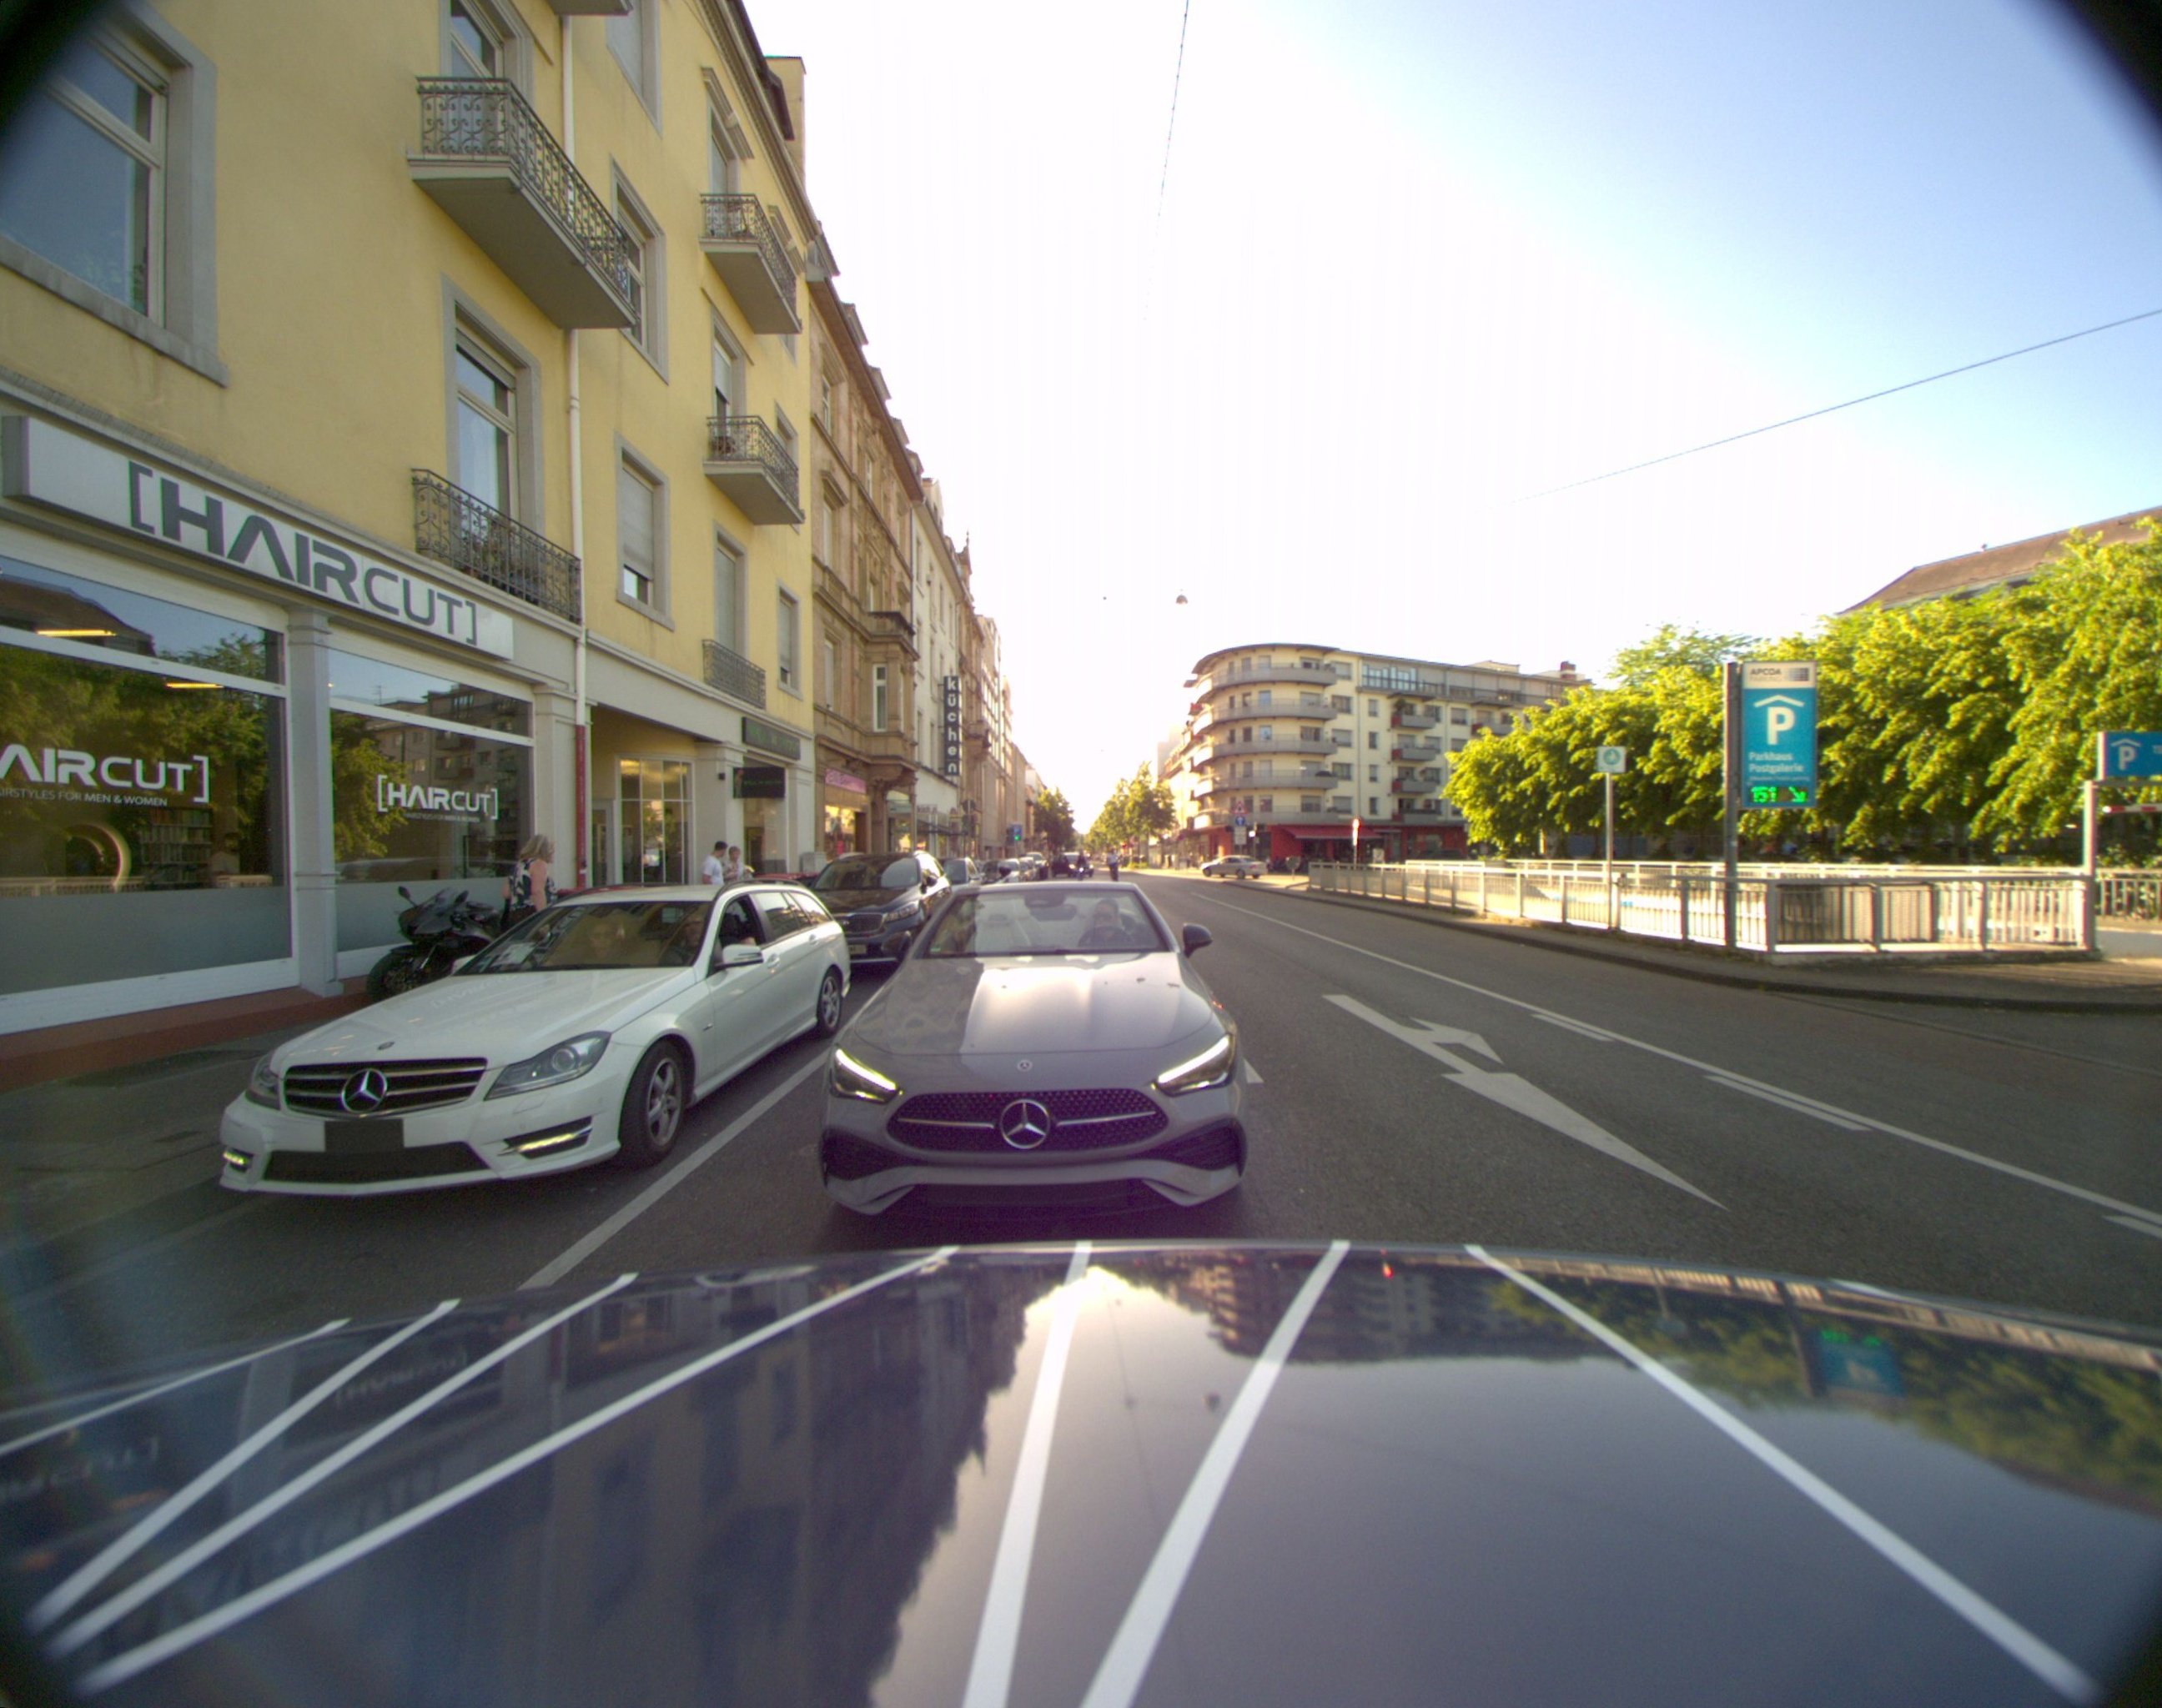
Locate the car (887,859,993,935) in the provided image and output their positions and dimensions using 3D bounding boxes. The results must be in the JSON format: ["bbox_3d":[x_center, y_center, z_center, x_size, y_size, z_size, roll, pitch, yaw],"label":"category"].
[{"bbox_3d":[-3.295,0.942,18.546,1.802,1.518,4.085,-2,1,-1],"label":"car"}]

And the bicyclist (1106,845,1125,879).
[{"bbox_3d":[1.743,0.395,38.014,0.885,1.625,0.769,-2,0,4],"label":"bicyclist"}]

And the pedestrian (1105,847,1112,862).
[{"bbox_3d":[3.693,0.033,103.391,0.860,2.002,0.889,-2,1,1],"label":"pedestrian"}]

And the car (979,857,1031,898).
[{"bbox_3d":[-3.005,0.905,30.748,1.660,1.423,4.085,-2,1,-1],"label":"car"}]

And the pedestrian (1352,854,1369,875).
[{"bbox_3d":[21.771,0.797,59.279,0.863,1.586,0.887,-3,1,-38],"label":"pedestrian"}]

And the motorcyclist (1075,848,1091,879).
[{"bbox_3d":[0.100,0.453,36.844,0.722,1.438,0.705,-2,1,2],"label":"motorcyclist"}]

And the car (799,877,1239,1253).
[{"bbox_3d":[-0.273,0.953,5.205,1.802,1.351,3.999,-2,1,-1],"label":"car"}]

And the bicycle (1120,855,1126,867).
[{"bbox_3d":[4.369,0.729,78.533,0.527,1.163,1.593,-2,1,2],"label":"bicycle"}]

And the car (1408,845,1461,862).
[{"bbox_3d":[29.044,-0.056,62.426,4.004,1.294,1.753,-2,1,-23],"label":"car"}]

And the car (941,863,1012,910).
[{"bbox_3d":[-3.379,1.019,25.344,1.802,1.259,4.085,-2,1,-1],"label":"car"}]

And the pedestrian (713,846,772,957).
[{"bbox_3d":[-5.766,0.796,12.974,0.664,1.840,0.575,-2,1,2],"label":"pedestrian"}]

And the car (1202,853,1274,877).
[{"bbox_3d":[10.032,0.683,48.849,1.828,1.346,4.252,0,2,-42],"label":"car"}]

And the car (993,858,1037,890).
[{"bbox_3d":[-3.136,0.918,36.878,1.802,1.332,3.838,-2,1,-1],"label":"car"}]

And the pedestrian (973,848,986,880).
[{"bbox_3d":[-5.815,0.573,43.723,0.574,1.840,0.665,-2,1,1],"label":"pedestrian"}]

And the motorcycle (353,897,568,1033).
[{"bbox_3d":[-6.201,1.044,7.761,0.567,1.072,1.954,2,1,1],"label":"motorcycle"}]

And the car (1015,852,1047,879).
[{"bbox_3d":[-3.055,0.696,47.492,1.725,1.506,4.004,-2,1,-1],"label":"car"}]

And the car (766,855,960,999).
[{"bbox_3d":[-2.982,0.889,11.354,1.803,1.629,4.243,-2,1,-3],"label":"car"}]

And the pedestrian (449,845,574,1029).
[{"bbox_3d":[-5.334,0.747,7.154,0.719,1.644,0.606,1,1,1],"label":"pedestrian"}]

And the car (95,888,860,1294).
[{"bbox_3d":[-3.078,1.063,5.267,1.704,1.351,4.378,-2,1,1],"label":"car"}]

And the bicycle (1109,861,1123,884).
[{"bbox_3d":[1.752,0.914,37.794,0.640,1.078,2.062,-2,0,4],"label":"bicycle"}]

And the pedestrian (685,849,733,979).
[{"bbox_3d":[-5.798,0.906,11.860,0.374,1.971,0.694,-1,1,0],"label":"pedestrian"}]

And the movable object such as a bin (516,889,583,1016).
[{"bbox_3d":[-5.361,0.980,7.672,0.391,1.231,0.394,1,1,1],"label":"movable object such as a bin"}]

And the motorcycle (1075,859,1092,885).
[{"bbox_3d":[0.116,0.873,36.887,0.720,1.177,1.906,-2,1,2],"label":"motorcycle"}]

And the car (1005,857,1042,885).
[{"bbox_3d":[-3.037,0.864,40.791,1.725,1.332,3.668,-2,1,-1],"label":"car"}]

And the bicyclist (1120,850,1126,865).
[{"bbox_3d":[4.346,0.382,78.521,0.524,1.539,0.798,-2,1,2],"label":"bicyclist"}]

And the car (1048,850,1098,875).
[{"bbox_3d":[-0.593,0.566,51.524,1.859,1.543,3.992,-3,1,-25],"label":"car"}]

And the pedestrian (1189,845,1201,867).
[{"bbox_3d":[10.275,0.173,68.344,0.860,2.002,0.889,-2,1,0],"label":"pedestrian"}]
